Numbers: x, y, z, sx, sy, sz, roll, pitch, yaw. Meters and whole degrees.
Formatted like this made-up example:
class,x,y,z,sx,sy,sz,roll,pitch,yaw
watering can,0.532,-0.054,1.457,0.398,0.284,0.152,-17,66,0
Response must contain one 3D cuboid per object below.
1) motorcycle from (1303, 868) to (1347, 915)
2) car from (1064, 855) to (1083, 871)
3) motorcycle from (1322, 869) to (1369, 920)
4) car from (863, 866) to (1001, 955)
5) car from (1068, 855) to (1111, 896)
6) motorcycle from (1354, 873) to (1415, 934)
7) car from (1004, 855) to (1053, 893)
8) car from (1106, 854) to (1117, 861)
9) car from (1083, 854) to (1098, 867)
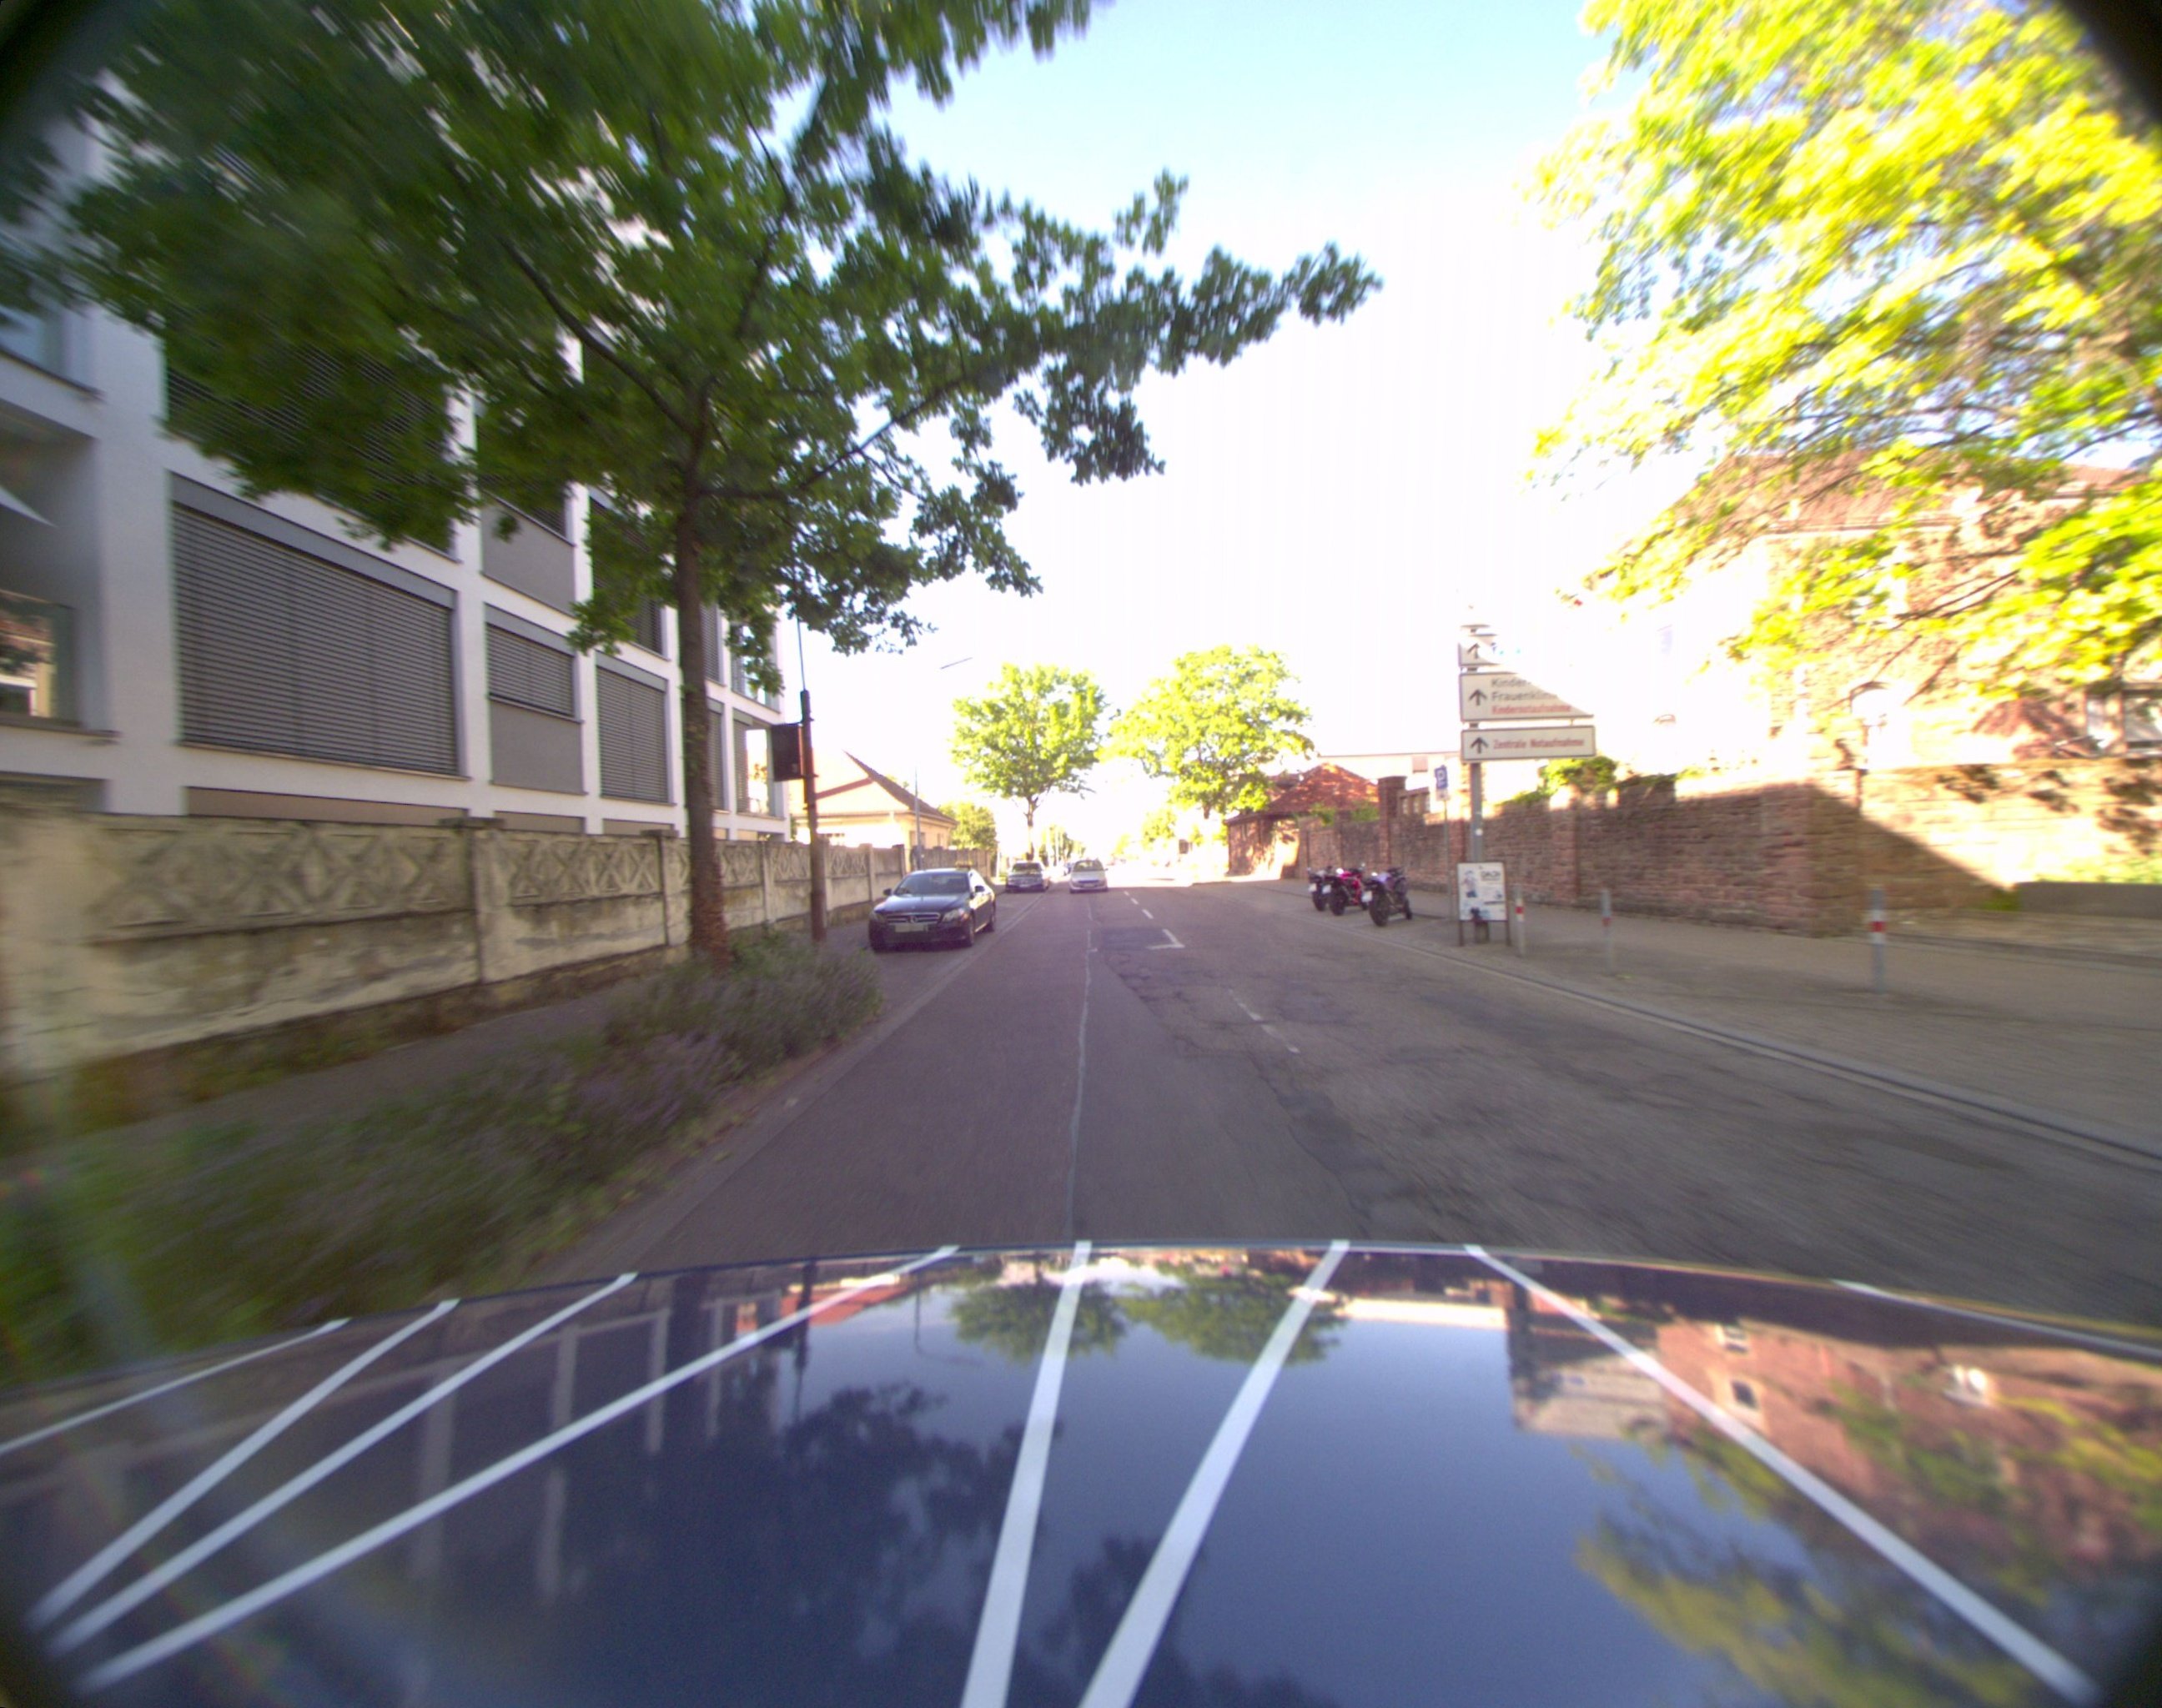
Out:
class,x,y,z,sx,sy,sz,roll,pitch,yaw
motorcycle,6.288,0.939,19.499,0.530,1.033,2.094,-4,0,32
car,-0.788,0.891,75.677,1.757,1.459,3.486,-4,0,-1
motorcycle,6.281,0.923,17.979,0.530,1.033,2.094,-4,0,32
car,-2.830,1.017,15.509,1.724,1.402,4.763,-3,0,1
car,0.436,0.943,34.630,1.748,1.613,4.106,-4,0,2
motorcycle,5.964,0.936,14.875,0.600,1.026,2.132,-2,0,35
car,-2.486,0.931,36.778,1.887,1.592,4.298,-3,0,1
car,6.517,0.753,162.675,1.998,1.406,4.000,-3,0,1
car,1.285,0.904,102.994,1.998,1.668,4.000,-3,0,1
